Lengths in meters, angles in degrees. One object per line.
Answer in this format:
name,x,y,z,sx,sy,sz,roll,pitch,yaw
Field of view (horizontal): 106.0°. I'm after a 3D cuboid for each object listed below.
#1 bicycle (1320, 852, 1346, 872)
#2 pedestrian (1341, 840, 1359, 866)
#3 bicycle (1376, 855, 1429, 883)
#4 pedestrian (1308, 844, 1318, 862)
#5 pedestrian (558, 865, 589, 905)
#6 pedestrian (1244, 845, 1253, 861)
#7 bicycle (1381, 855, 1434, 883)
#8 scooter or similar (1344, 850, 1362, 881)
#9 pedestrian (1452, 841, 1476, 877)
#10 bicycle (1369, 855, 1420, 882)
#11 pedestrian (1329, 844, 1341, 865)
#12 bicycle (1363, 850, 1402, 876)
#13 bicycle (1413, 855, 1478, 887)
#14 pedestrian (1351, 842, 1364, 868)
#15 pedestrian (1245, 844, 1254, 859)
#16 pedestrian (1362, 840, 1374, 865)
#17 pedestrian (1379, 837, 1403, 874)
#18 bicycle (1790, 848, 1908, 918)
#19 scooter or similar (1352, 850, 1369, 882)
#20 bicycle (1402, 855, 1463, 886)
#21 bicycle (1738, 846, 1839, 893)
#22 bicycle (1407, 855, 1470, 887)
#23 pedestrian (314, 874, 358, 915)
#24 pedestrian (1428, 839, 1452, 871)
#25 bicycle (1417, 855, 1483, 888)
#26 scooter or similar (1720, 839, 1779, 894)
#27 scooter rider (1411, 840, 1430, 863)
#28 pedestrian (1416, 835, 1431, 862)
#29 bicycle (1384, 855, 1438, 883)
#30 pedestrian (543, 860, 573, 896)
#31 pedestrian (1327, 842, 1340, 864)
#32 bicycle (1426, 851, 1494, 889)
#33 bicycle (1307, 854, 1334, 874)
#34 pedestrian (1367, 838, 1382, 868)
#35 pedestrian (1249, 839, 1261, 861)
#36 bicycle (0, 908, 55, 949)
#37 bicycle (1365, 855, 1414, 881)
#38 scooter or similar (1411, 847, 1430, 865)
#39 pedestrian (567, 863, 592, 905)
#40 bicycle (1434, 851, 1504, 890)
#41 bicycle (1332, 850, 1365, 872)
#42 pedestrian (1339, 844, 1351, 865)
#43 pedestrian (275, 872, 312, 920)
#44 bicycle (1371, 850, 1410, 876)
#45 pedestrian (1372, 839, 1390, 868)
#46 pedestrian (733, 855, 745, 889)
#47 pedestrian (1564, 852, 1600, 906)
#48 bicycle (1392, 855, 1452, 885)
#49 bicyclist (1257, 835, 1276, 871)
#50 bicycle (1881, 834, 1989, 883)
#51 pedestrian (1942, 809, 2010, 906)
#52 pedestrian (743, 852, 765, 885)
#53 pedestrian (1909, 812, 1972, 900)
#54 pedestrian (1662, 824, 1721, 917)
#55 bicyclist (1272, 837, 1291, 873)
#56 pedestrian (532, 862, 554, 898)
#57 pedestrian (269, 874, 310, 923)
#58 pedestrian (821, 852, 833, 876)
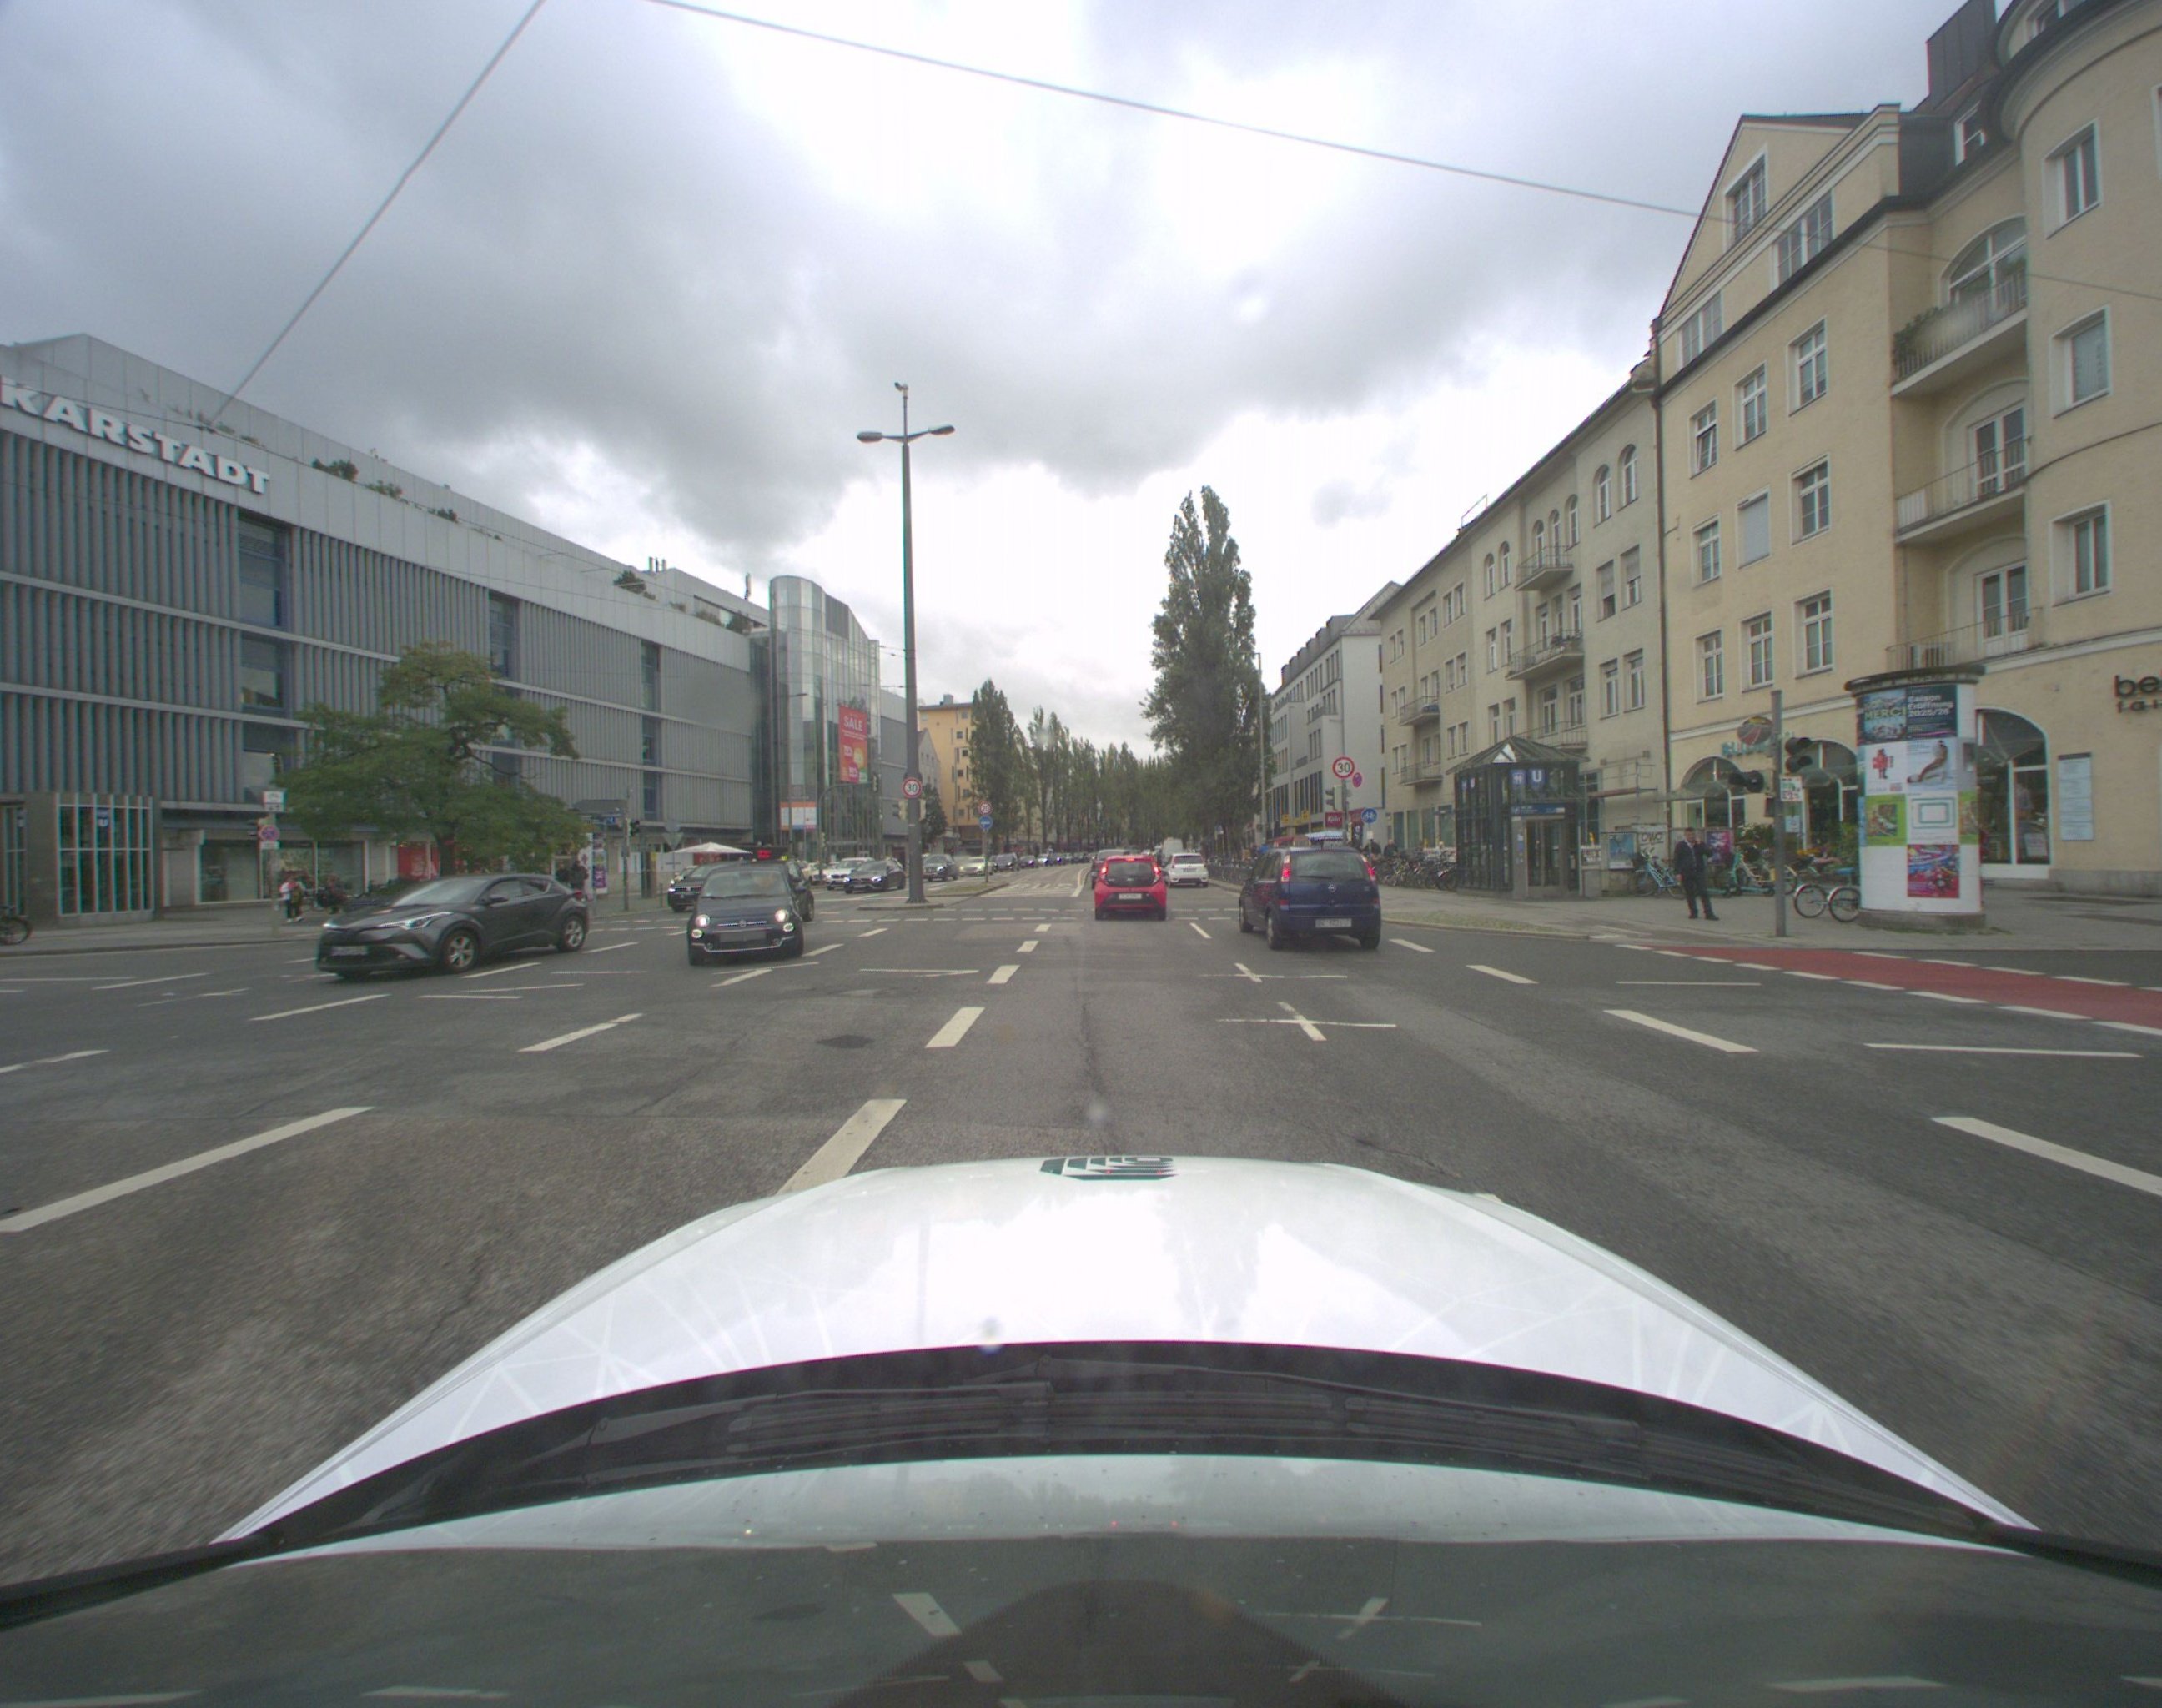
bicycle,13.401,0.422,43.367,1.240,0.981,0.369,-2,0,-2
pedestrian,16.195,-0.049,49.051,0.801,1.522,0.805,-2,0,35
bicycle,11.960,0.542,30.316,1.749,0.964,0.453,-2,0,0
pedestrian,17.922,-0.056,62.915,0.596,1.402,0.580,-2,0,1
pedestrian,-21.488,1.294,34.508,0.765,1.654,0.754,-2,0,12
pedestrian,17.780,-0.120,86.485,0.761,1.594,0.676,-2,0,1
bicycle,11.888,0.530,29.655,1.749,0.964,0.453,-2,0,0
scooter or similar,10.709,0.455,32.062,0.360,1.176,1.355,-2,0,32
pedestrian,18.424,0.239,39.196,0.748,1.650,0.758,-3,0,0
bicycle,11.886,0.540,30.878,1.747,0.964,0.453,-2,0,2
pedestrian,17.861,0.031,57.296,0.596,1.402,0.580,-2,0,1
bicycle,13.553,0.399,36.630,1.546,1.075,0.451,-2,0,-3
bicycle,11.669,0.546,26.097,1.832,0.964,0.509,-2,0,0
pedestrian,16.223,0.075,47.781,0.573,1.505,0.620,-2,0,33
pedestrian,17.377,-0.247,83.880,0.710,1.558,0.676,-2,0,1
pedestrian,16.996,-0.096,48.231,0.501,1.484,0.468,-2,0,37
pedestrian,14.969,0.078,39.319,0.810,1.727,0.759,-3,0,2
bicycle,13.769,0.509,14.620,1.561,1.160,0.525,-2,2,4
scooter or similar,10.886,0.458,31.696,0.297,1.176,1.285,-2,0,32
bicycle,11.750,0.543,27.248,1.832,0.964,0.509,-2,0,0
bicycle,16.737,0.349,19.332,0.495,1.059,1.858,-2,0,-13
bicycle,11.706,0.544,26.716,1.832,0.964,0.509,-2,0,0
pedestrian,-29.692,1.603,32.459,0.791,1.581,0.980,-2,0,13
pedestrian,17.265,0.048,39.145,0.775,1.517,0.758,-3,0,0
bicycle,11.585,0.547,25.566,1.832,0.964,0.509,-2,0,0
scooter or similar,15.508,0.275,18.914,0.287,1.227,1.151,-2,0,-7
scooter rider,18.514,-0.138,44.401,0.683,1.219,0.719,-3,0,0
pedestrian,20.802,-0.340,49.530,0.638,1.644,0.563,-2,0,1
bicycle,11.797,0.531,29.152,1.749,0.964,0.453,-2,0,0
pedestrian,-22.942,1.055,35.735,0.763,1.554,0.756,-2,0,25
pedestrian,19.283,-0.080,62.191,0.730,1.602,0.742,-2,0,1
bicycle,11.610,0.470,24.974,1.832,1.094,0.509,-2,0,0
bicycle,11.958,0.506,40.677,1.177,0.963,0.369,-2,0,0
pedestrian,17.005,-0.053,47.211,0.594,1.669,0.690,-2,0,37
pedestrian,13.846,-0.335,64.750,0.787,1.727,0.764,-2,0,1
bicycle,-27.575,1.901,20.642,0.525,0.998,1.987,-1,-2,2
bicycle,11.944,0.532,31.569,1.747,0.964,0.369,-2,0,2
scooter or similar,18.486,0.126,44.385,0.533,0.943,1.125,-3,0,0
pedestrian,-21.879,1.286,35.566,0.752,1.773,0.767,-2,0,-22
bicycle,11.615,0.501,24.407,1.832,1.094,0.509,-2,0,0
bicycle,13.429,0.360,40.866,1.498,1.075,0.368,-2,0,-5
pedestrian,18.561,0.033,57.255,0.572,1.402,0.580,-2,0,1
pedestrian,-29.268,1.545,30.281,0.792,1.687,0.853,-1,0,-33
bicycle,13.664,0.393,35.997,1.543,1.075,0.452,-2,0,3
pedestrian,18.265,-0.044,49.607,0.739,1.727,0.759,-3,0,1
pedestrian,-18.090,0.963,43.039,0.441,1.759,0.358,-2,0,37
pedestrian,16.152,0.793,26.280,0.654,1.670,0.722,-3,0,3
bicycle,11.749,0.540,28.074,1.832,0.964,0.509,-2,0,0
bicyclist,9.945,-0.059,43.779,0.759,1.869,1.133,-2,0,2
bicycle,20.121,0.098,19.244,0.493,1.089,1.864,-2,0,-4
pedestrian,16.708,0.056,15.218,0.642,1.751,0.640,-1,3,24
pedestrian,-17.219,0.773,42.946,0.766,1.690,0.753,-2,0,6
pedestrian,17.321,0.026,16.420,0.648,1.705,0.727,-4,3,-28
pedestrian,11.585,0.300,15.461,0.826,1.691,0.825,-2,0,39
bicyclist,9.423,0.057,38.306,0.611,1.657,1.252,-2,0,2
pedestrian,-22.915,1.085,34.709,0.754,1.493,0.765,-2,0,-33
pedestrian,-26.287,1.465,27.064,0.633,1.574,0.724,-2,0,15
pedestrian,-19.784,0.772,63.420,0.553,1.817,0.630,-2,0,13
